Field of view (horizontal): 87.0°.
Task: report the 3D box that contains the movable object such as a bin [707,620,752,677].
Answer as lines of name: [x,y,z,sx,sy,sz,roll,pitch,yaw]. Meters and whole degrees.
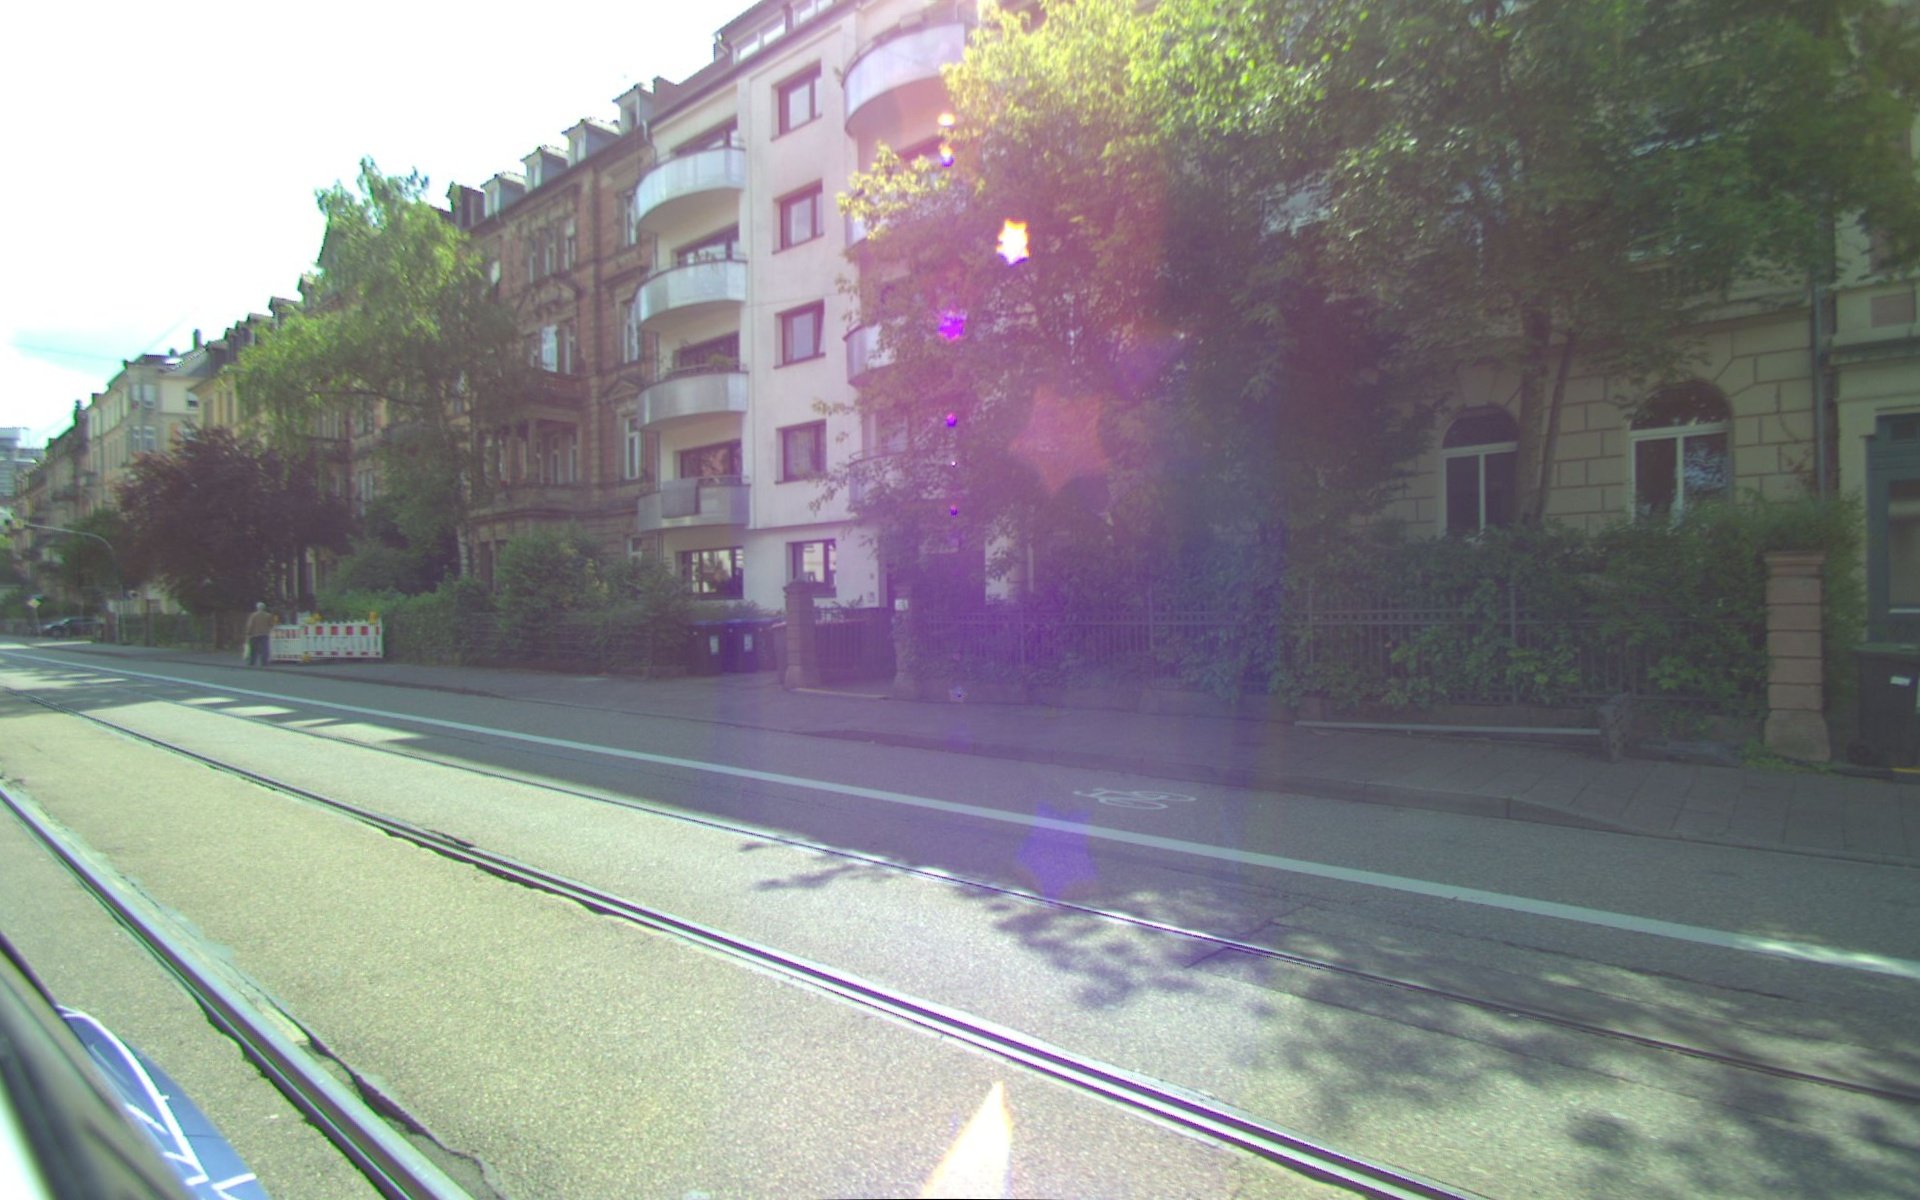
movable object such as a bin: [-4.673,0.960,20.487,0.789,1.102,0.532,0,0,42]

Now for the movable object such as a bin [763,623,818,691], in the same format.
movable object such as a bin: [-2.848,0.938,16.984,0.531,1.102,0.790,0,-1,-44]

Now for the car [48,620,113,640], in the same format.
car: [-65.988,2.243,75.985,1.787,1.413,3.562,-2,0,45]

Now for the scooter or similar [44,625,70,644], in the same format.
scooter or similar: [-62.392,2.394,69.940,0.400,1.244,1.360,-1,0,12]

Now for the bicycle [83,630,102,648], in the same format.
bicycle: [-46.798,2.077,54.595,1.967,0.954,0.524,-1,-1,41]

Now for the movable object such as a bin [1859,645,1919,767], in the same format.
movable object such as a bin: [7.309,0.798,7.741,0.616,0.883,0.556,-1,-1,41]

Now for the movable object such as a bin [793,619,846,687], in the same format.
movable object such as a bin: [-2.416,0.898,17.386,0.543,1.116,0.790,0,-1,-44]

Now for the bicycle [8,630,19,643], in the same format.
bicycle: [-72.754,2.816,77.780,1.948,0.984,0.417,-1,-1,41]

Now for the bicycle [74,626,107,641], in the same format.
bicycle: [-62.903,2.428,73.211,0.523,1.071,1.738,-2,-1,35]

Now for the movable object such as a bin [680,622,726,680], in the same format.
movable object such as a bin: [-5.067,0.994,19.959,0.789,1.102,0.532,0,0,42]

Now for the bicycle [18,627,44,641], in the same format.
bicycle: [-69.042,2.514,75.214,0.404,0.984,1.438,-2,-1,40]

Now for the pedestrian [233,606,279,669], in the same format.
pedestrian: [-19.711,1.036,28.335,0.890,1.719,0.815,-1,-1,38]

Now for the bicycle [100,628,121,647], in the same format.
bicycle: [-43.908,1.948,52.290,1.967,0.954,0.524,-1,-1,41]

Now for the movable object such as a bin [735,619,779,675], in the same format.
movable object such as a bin: [-4.213,0.956,20.949,0.789,1.102,0.532,0,0,42]

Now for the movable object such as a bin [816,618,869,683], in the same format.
movable object such as a bin: [-2.075,0.874,17.844,0.543,1.116,0.790,0,-1,-44]
